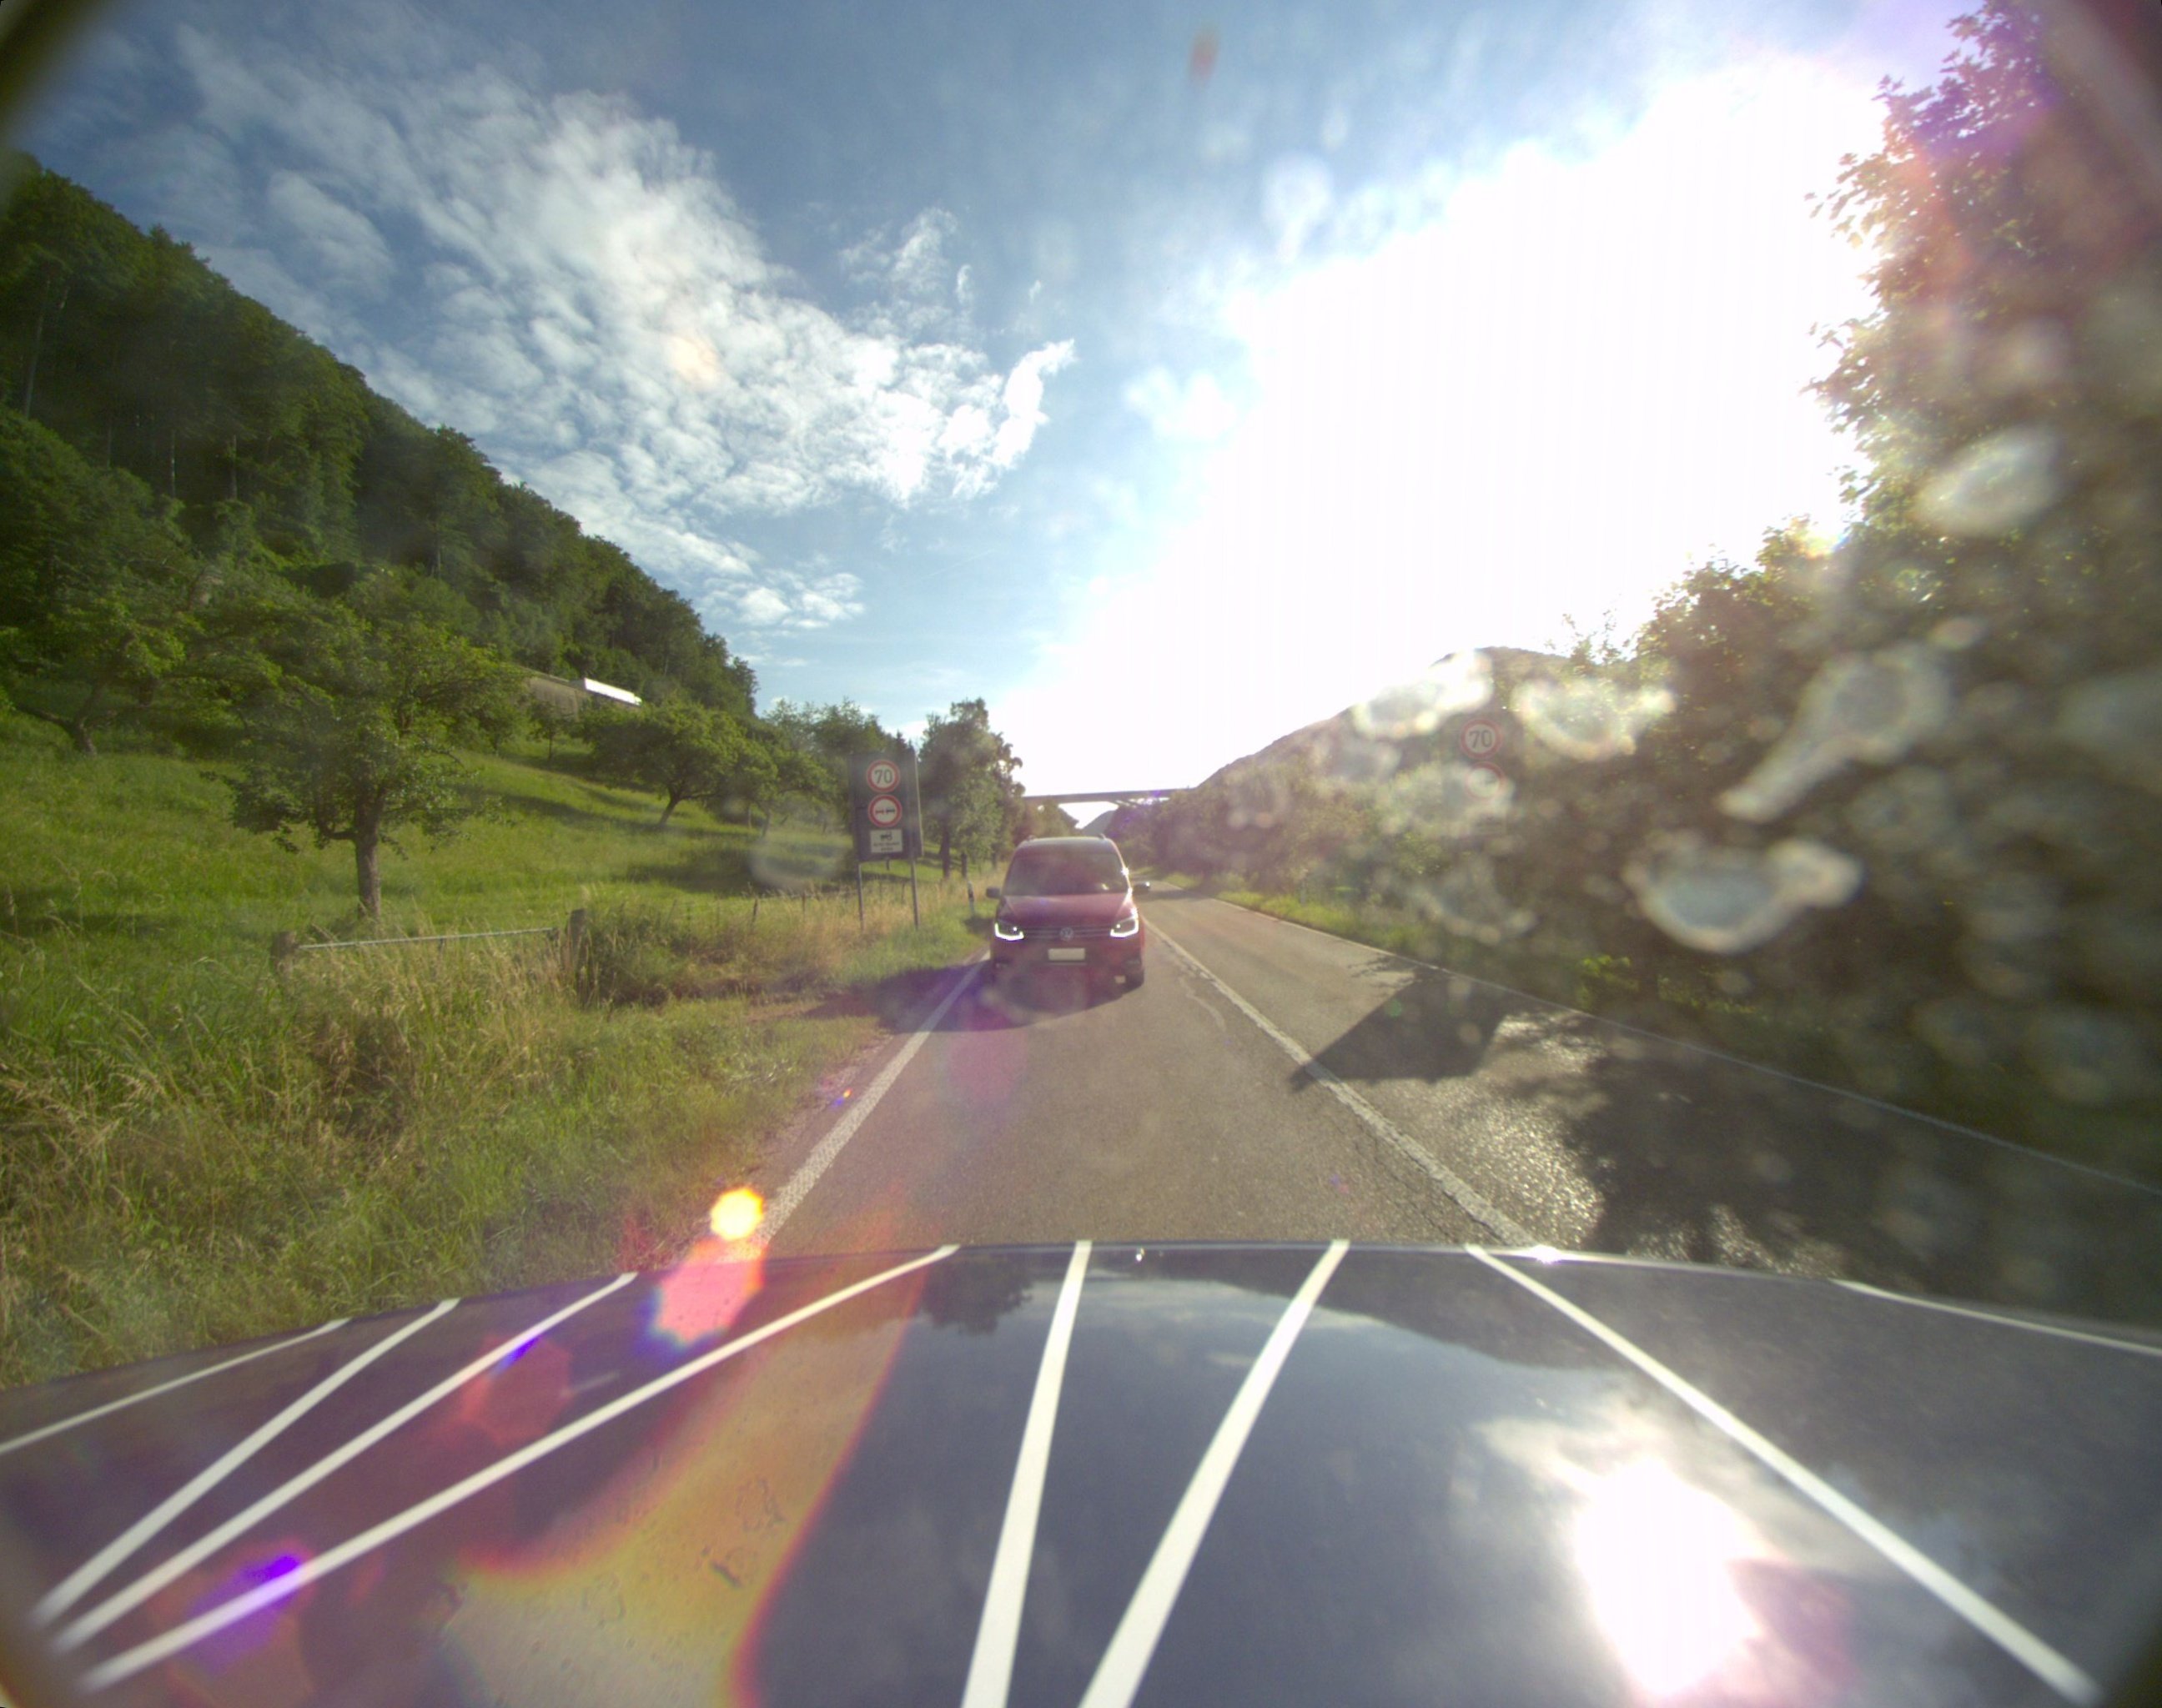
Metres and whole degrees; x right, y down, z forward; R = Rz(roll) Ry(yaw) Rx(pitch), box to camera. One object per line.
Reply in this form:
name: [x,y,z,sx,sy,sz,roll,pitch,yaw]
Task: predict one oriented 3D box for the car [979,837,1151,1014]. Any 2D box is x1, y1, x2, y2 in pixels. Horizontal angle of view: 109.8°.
car: [-0.201,0.746,9.866,1.741,1.803,3.999,-1,0,-1]
